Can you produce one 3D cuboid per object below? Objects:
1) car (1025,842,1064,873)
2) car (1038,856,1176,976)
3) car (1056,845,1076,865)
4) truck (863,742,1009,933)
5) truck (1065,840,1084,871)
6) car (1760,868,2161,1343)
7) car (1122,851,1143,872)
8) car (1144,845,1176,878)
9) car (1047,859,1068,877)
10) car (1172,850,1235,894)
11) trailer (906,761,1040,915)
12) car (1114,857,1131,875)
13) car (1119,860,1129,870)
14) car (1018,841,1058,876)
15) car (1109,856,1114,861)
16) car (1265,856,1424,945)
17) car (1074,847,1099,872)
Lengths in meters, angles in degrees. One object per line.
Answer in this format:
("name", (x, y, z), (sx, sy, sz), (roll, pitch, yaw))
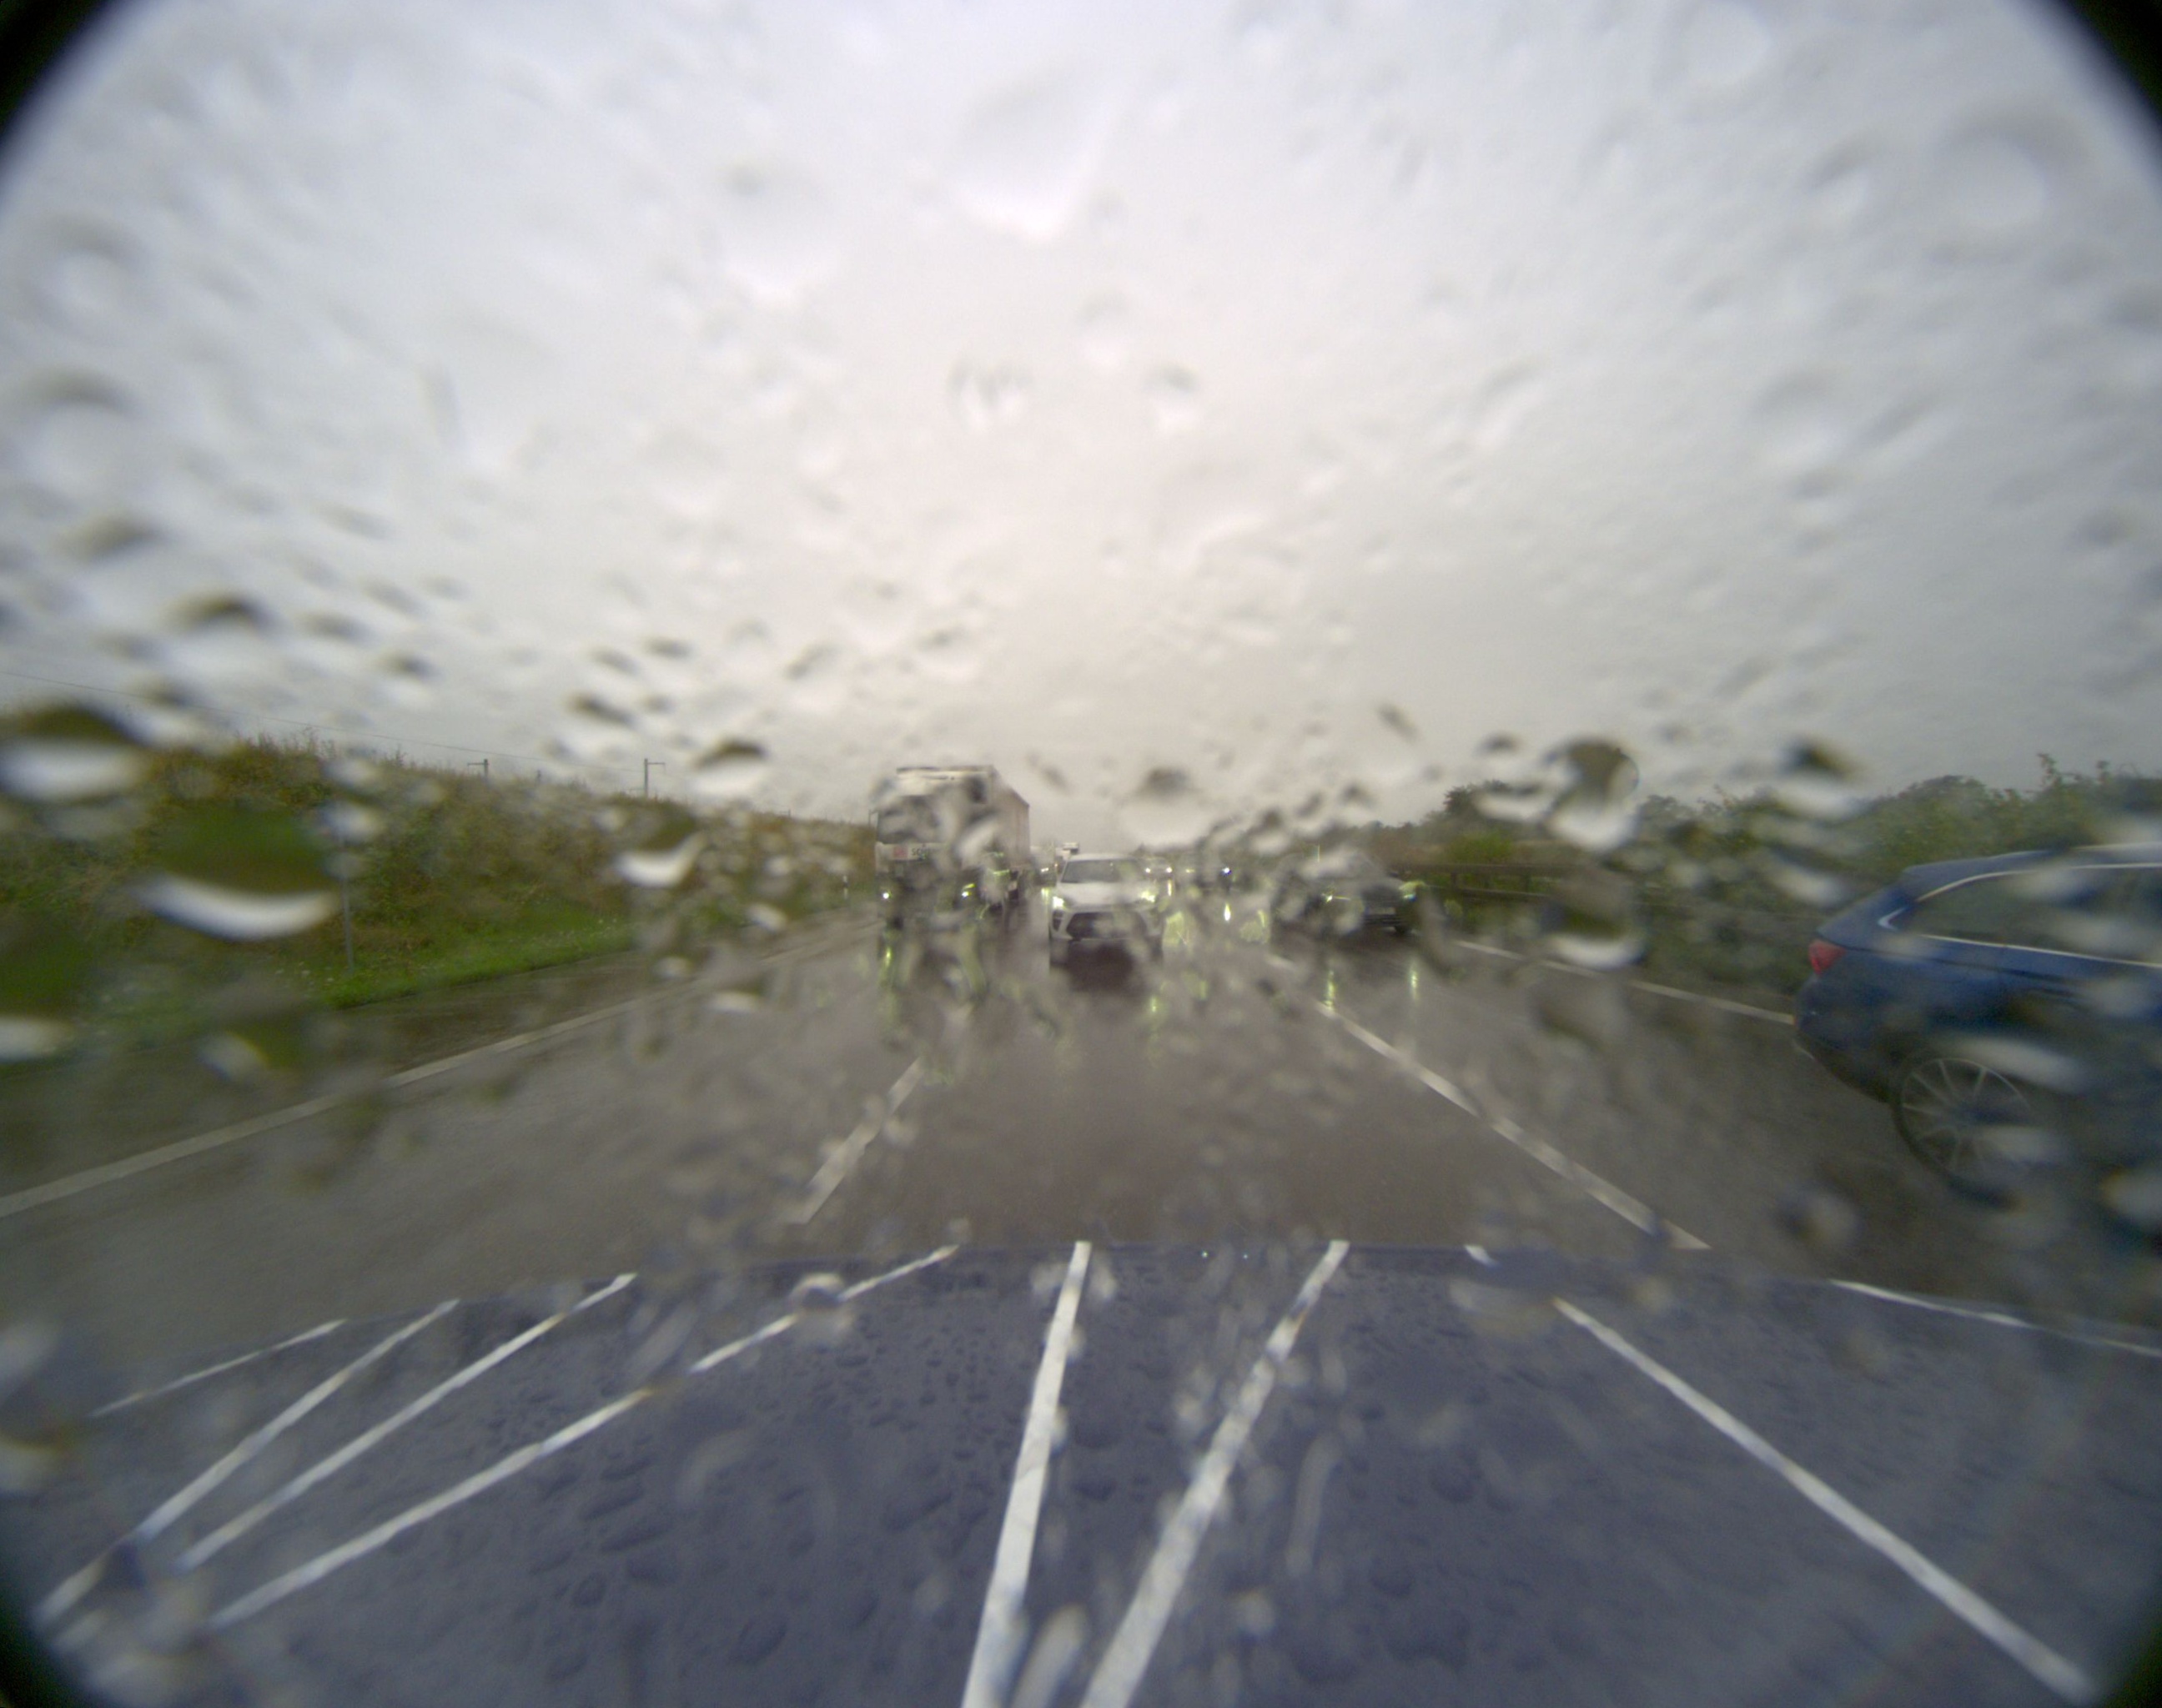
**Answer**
("car", (-2.529, 0.214, 53.647), (2.260, 2.002, 4.269), (-2, 1, 4))
("car", (0.388, 0.879, 12.641), (1.893, 1.578, 3.999), (-2, 1, 1))
("car", (-1.682, 0.102, 86.546), (1.998, 2.231, 4.000), (-2, 0, 1))
("truck", (-3.508, -0.397, 19.659), (2.633, 4.229, 5.042), (-2, 1, 0))
("truck", (-0.975, 0.235, 117.946), (2.628, 4.635, 4.290), (-2, 0, 1))
("car", (4.379, 0.835, 1.657), (1.790, 1.467, 4.512), (-2, 0, 1))
("car", (5.014, 0.719, 74.272), (1.737, 2.002, 4.223), (-2, 0, 1))
("car", (5.117, 0.465, 49.884), (1.888, 2.002, 4.270), (-2, 0, 4))
("car", (-2.404, 1.449, 80.181), (1.998, 1.805, 4.000), (-2, 0, 1))
("car", (4.927, 0.684, 31.141), (1.889, 1.622, 4.269), (-2, 0, 0))
("trailer", (-3.414, -0.517, 28.417), (2.633, 4.224, 14.174), (-2, 1, 1))
("car", (4.815, 1.342, 87.872), (1.737, 2.002, 4.223), (-2, 0, 1))
("car", (7.180, 1.800, 126.565), (1.458, 1.540, 2.804), (0, 2, 1))
("car", (-2.628, 0.218, 47.166), (1.946, 2.002, 4.446), (-2, 1, 3))
("car", (8.212, 1.225, 206.746), (1.279, 1.567, 2.848), (-2, 0, 0))
("car", (4.933, 0.780, 14.894), (1.613, 1.428, 4.370), (-2, 0, 1))
("car", (0.531, 0.475, 65.274), (1.998, 2.002, 4.000), (-2, 0, 2))
